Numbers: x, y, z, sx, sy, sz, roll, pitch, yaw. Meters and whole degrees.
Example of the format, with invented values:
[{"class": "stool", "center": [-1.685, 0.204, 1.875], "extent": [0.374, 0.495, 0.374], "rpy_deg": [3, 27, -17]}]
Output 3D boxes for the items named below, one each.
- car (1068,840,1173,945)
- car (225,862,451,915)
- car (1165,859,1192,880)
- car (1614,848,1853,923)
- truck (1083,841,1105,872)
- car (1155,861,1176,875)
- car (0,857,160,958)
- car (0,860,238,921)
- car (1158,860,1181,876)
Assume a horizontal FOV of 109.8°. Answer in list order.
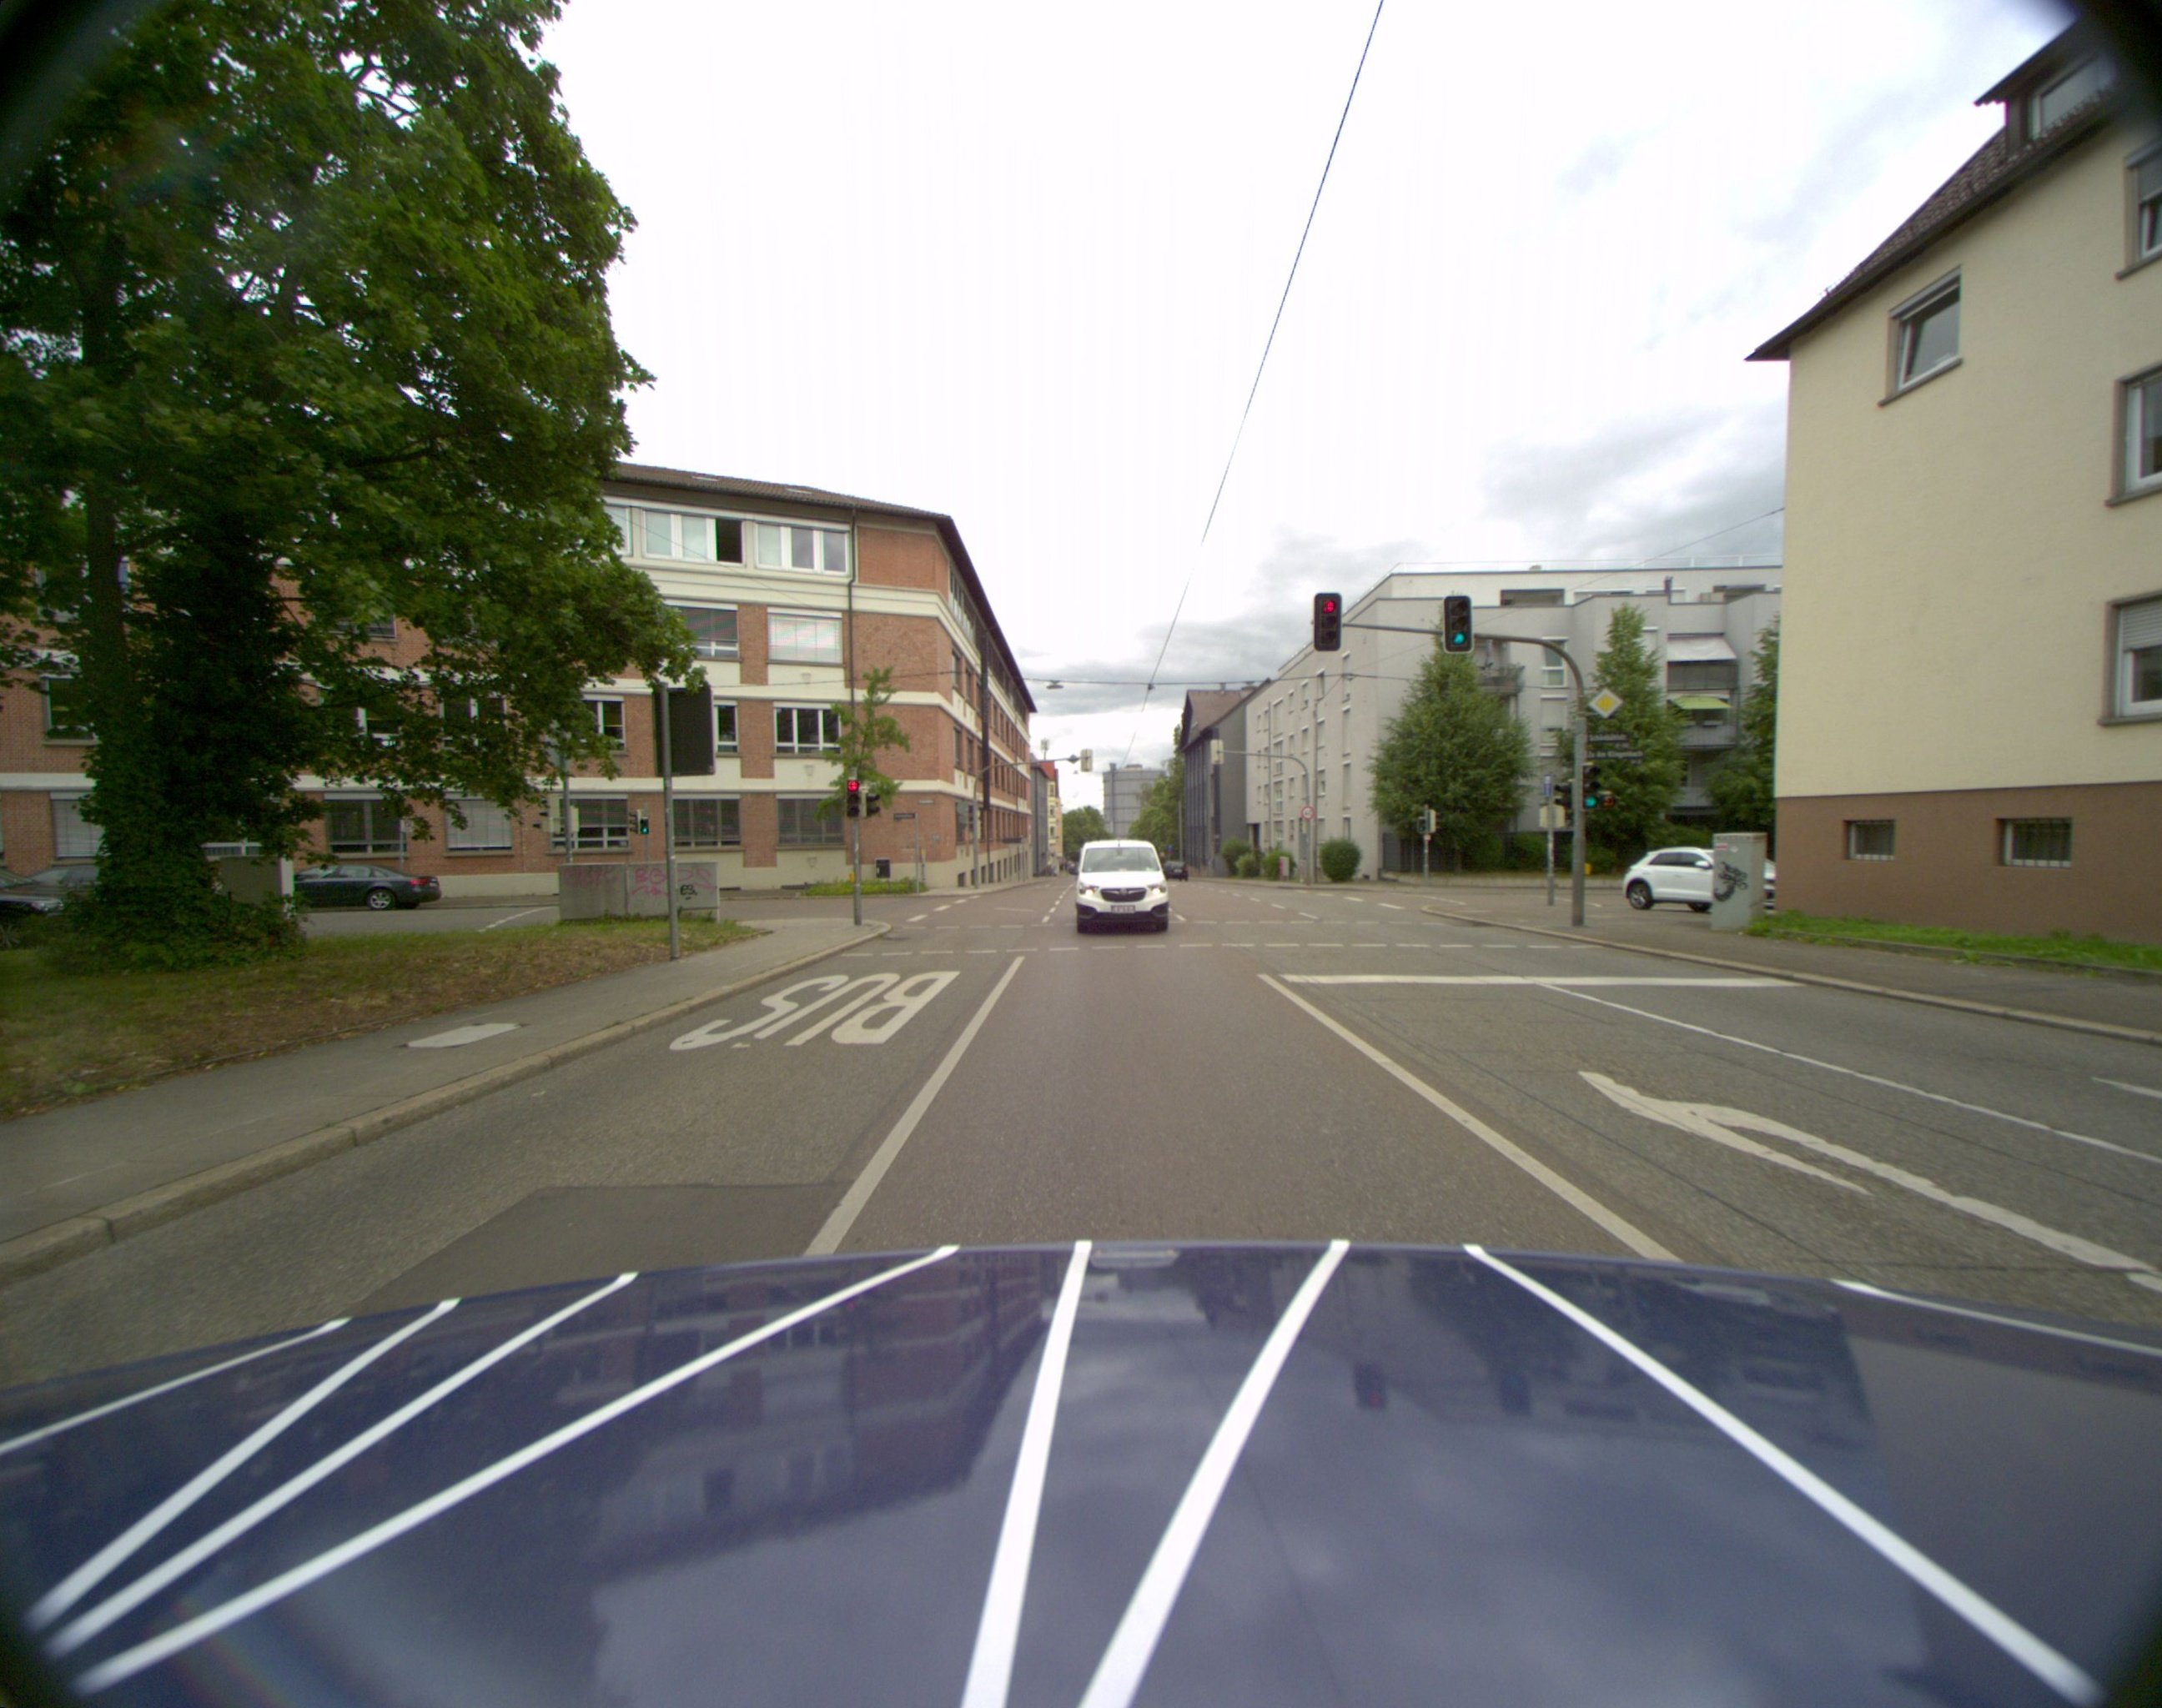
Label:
[{"class": "car", "center": [0.759, 0.728, 15.829], "extent": [1.850, 1.831, 4.284], "rpy_deg": [-2, -1, 1]}, {"class": "car", "center": [-21.726, 1.000, 22.475], "extent": [4.425, 1.396, 1.771], "rpy_deg": [0, -2, -21]}, {"class": "car", "center": [7.096, 1.118, 55.714], "extent": [1.591, 1.455, 3.616], "rpy_deg": [0, 0, 1]}, {"class": "car", "center": [14.992, 0.693, 17.835], "extent": [1.819, 1.527, 4.260], "rpy_deg": [1, -1, -4]}, {"class": "truck", "center": [1.555, 0.304, 89.718], "extent": [2.545, 3.478, 8.521], "rpy_deg": [0, 0, 1]}, {"class": "car", "center": [8.688, 1.414, 78.692], "extent": [1.799, 1.401, 4.000], "rpy_deg": [0, 0, 1]}, {"class": "car", "center": [-21.822, 1.029, 14.696], "extent": [4.661, 1.718, 1.960], "rpy_deg": [0, 6, -19]}, {"class": "car", "center": [-26.365, 0.978, 20.578], "extent": [4.402, 1.500, 1.771], "rpy_deg": [0, -2, -21]}, {"class": "car", "center": [8.432, 1.317, 72.872], "extent": [1.799, 1.401, 4.000], "rpy_deg": [0, 0, 1]}]
